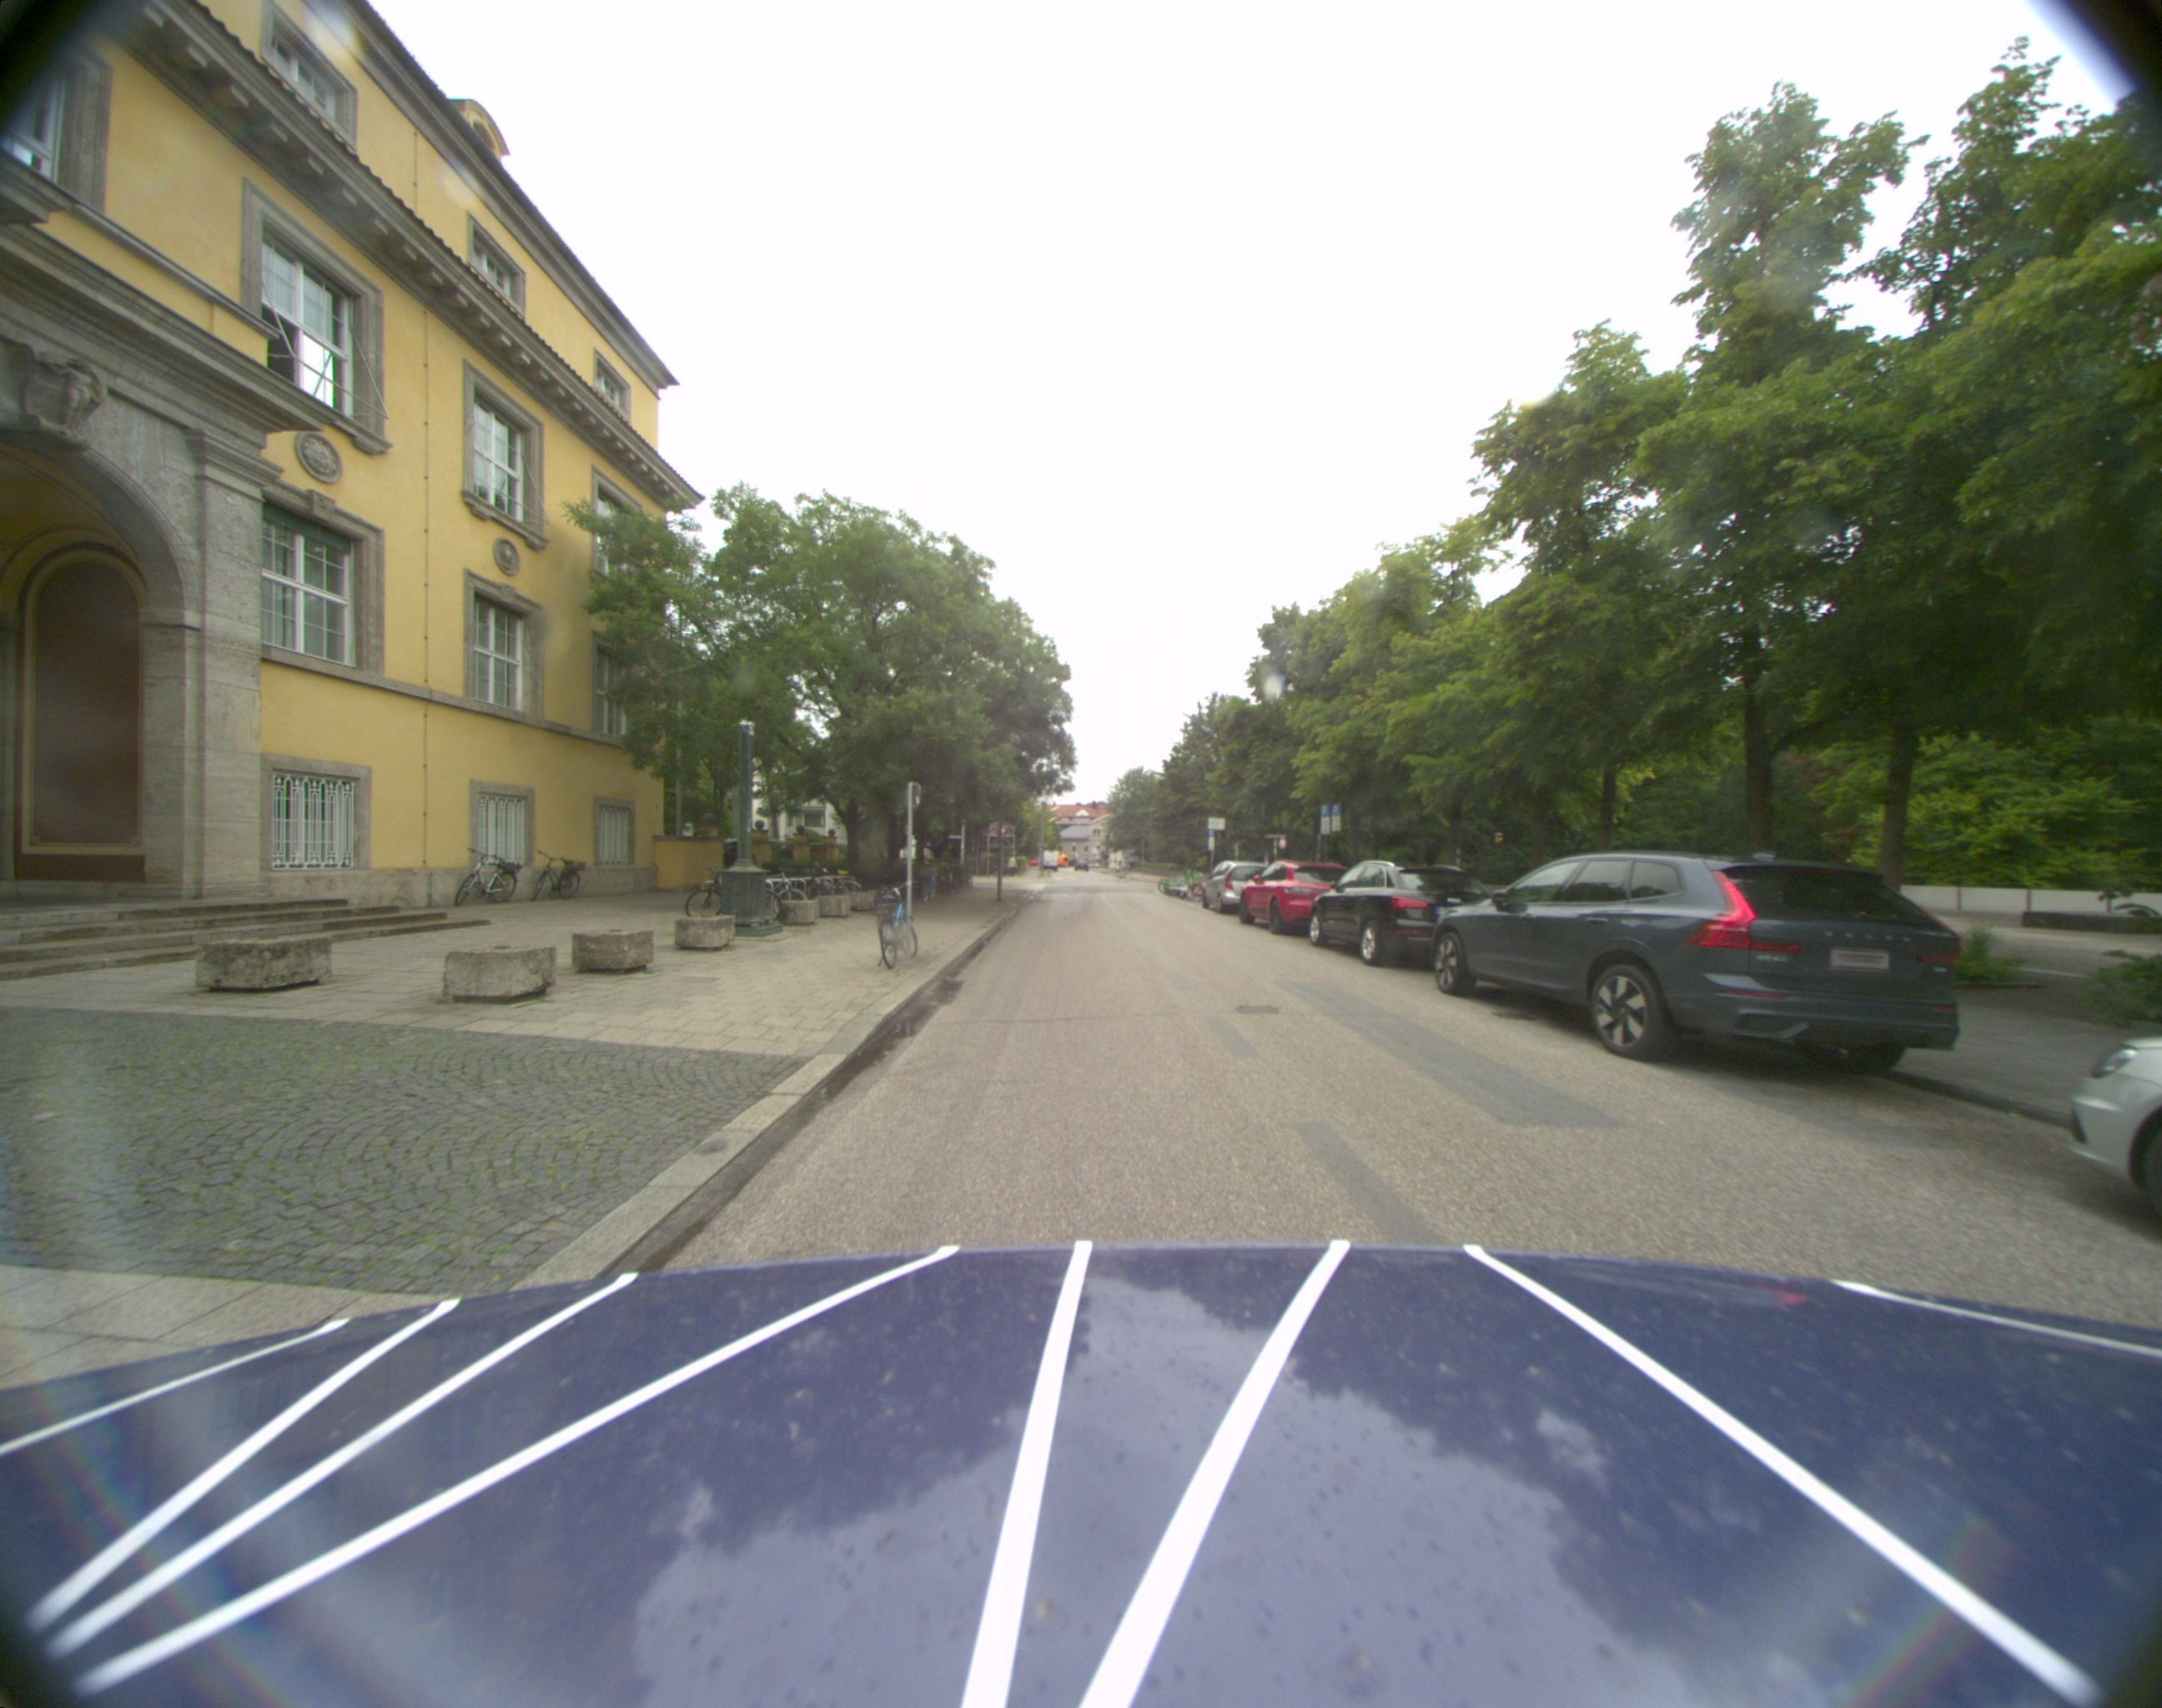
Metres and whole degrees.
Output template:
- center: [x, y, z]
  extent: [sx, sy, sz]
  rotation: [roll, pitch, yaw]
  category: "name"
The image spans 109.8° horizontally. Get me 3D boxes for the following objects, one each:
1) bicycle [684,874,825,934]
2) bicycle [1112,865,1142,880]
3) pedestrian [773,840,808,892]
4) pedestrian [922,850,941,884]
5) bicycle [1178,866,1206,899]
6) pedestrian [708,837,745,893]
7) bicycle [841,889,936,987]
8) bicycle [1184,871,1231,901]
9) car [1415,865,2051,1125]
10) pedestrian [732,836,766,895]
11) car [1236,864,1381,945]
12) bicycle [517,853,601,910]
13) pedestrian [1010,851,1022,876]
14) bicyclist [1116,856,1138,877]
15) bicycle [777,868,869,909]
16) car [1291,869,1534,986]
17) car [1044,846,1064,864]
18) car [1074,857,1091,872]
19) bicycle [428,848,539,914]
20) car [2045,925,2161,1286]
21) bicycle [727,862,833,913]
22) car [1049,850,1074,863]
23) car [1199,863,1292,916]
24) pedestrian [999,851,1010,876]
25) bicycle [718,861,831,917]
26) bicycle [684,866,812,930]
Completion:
- center: [-6.269, 0.959, 14.692]
  extent: [2.370, 1.000, 0.677]
  rotation: [3, 0, -9]
  category: "bicycle"
- center: [3.357, 1.349, 55.534]
  extent: [0.789, 0.984, 2.162]
  rotation: [-3, 1, -43]
  category: "bicycle"
- center: [-10.707, 0.435, 28.025]
  extent: [0.782, 1.854, 1.035]
  rotation: [3, 1, -1]
  category: "pedestrian"
- center: [-7.857, 0.679, 40.031]
  extent: [0.798, 1.721, 0.660]
  rotation: [-2, 1, -2]
  category: "pedestrian"
- center: [4.516, 1.151, 30.879]
  extent: [0.574, 1.275, 1.421]
  rotation: [-1, 0, 32]
  category: "bicycle"
- center: [-11.490, 0.338, 24.651]
  extent: [0.741, 1.734, 0.841]
  rotation: [3, 1, -1]
  category: "pedestrian"
- center: [-2.660, 1.123, 10.779]
  extent: [0.762, 1.094, 2.263]
  rotation: [3, 0, -1]
  category: "bicycle"
- center: [4.889, 1.229, 29.357]
  extent: [1.700, 1.101, 0.598]
  rotation: [0, 1, -9]
  category: "bicycle"
- center: [5.157, 0.937, 7.108]
  extent: [1.999, 1.573, 4.521]
  rotation: [1, 0, -1]
  category: "car"
- center: [-10.765, 0.365, 24.673]
  extent: [0.659, 1.854, 0.820]
  rotation: [3, 1, -1]
  category: "pedestrian"
- center: [5.003, 1.033, 17.375]
  extent: [1.998, 1.535, 4.364]
  rotation: [1, 0, 0]
  category: "car"
- center: [-12.748, 0.644, 18.643]
  extent: [0.601, 1.299, 2.164]
  rotation: [1, 0, -1]
  category: "bicycle"
- center: [-4.964, 0.700, 58.031]
  extent: [0.777, 1.855, 0.997]
  rotation: [-2, 1, -7]
  category: "pedestrian"
- center: [3.373, 0.906, 55.494]
  extent: [0.893, 1.536, 1.303]
  rotation: [-3, 1, -43]
  category: "bicyclist"
- center: [-7.008, 0.931, 20.716]
  extent: [2.262, 1.005, 0.602]
  rotation: [3, 0, 2]
  category: "bicycle"
- center: [5.128, 1.041, 12.604]
  extent: [1.998, 1.452, 4.647]
  rotation: [1, 0, 0]
  category: "car"
- center: [-3.540, 0.124, 99.293]
  extent: [2.237, 2.289, 4.728]
  rotation: [-2, 1, -6]
  category: "car"
- center: [0.165, 1.328, 100.729]
  extent: [2.222, 1.839, 4.730]
  rotation: [-2, 1, -1]
  category: "car"
- center: [-12.723, 0.531, 16.284]
  extent: [0.601, 1.299, 2.264]
  rotation: [1, 0, -1]
  category: "bicycle"
- center: [5.162, 1.056, 1.236]
  extent: [1.762, 1.392, 4.217]
  rotation: [4, 0, 0]
  category: "car"
- center: [-7.315, 0.813, 18.556]
  extent: [2.265, 1.018, 0.601]
  rotation: [6, 0, -12]
  category: "bicycle"
- center: [-4.140, 0.514, 162.153]
  extent: [4.973, 2.521, 2.578]
  rotation: [-1, 1, 43]
  category: "car"
- center: [5.071, 1.046, 24.085]
  extent: [1.998, 1.452, 4.364]
  rotation: [1, 0, 0]
  category: "car"
- center: [-5.912, 0.730, 58.610]
  extent: [0.777, 1.855, 0.996]
  rotation: [-2, 1, -9]
  category: "pedestrian"
- center: [-7.081, 0.808, 17.648]
  extent: [2.265, 1.053, 0.601]
  rotation: [6, 0, -12]
  category: "bicycle"
- center: [-6.841, 0.905, 15.698]
  extent: [2.265, 1.088, 0.601]
  rotation: [6, 0, -12]
  category: "bicycle"
